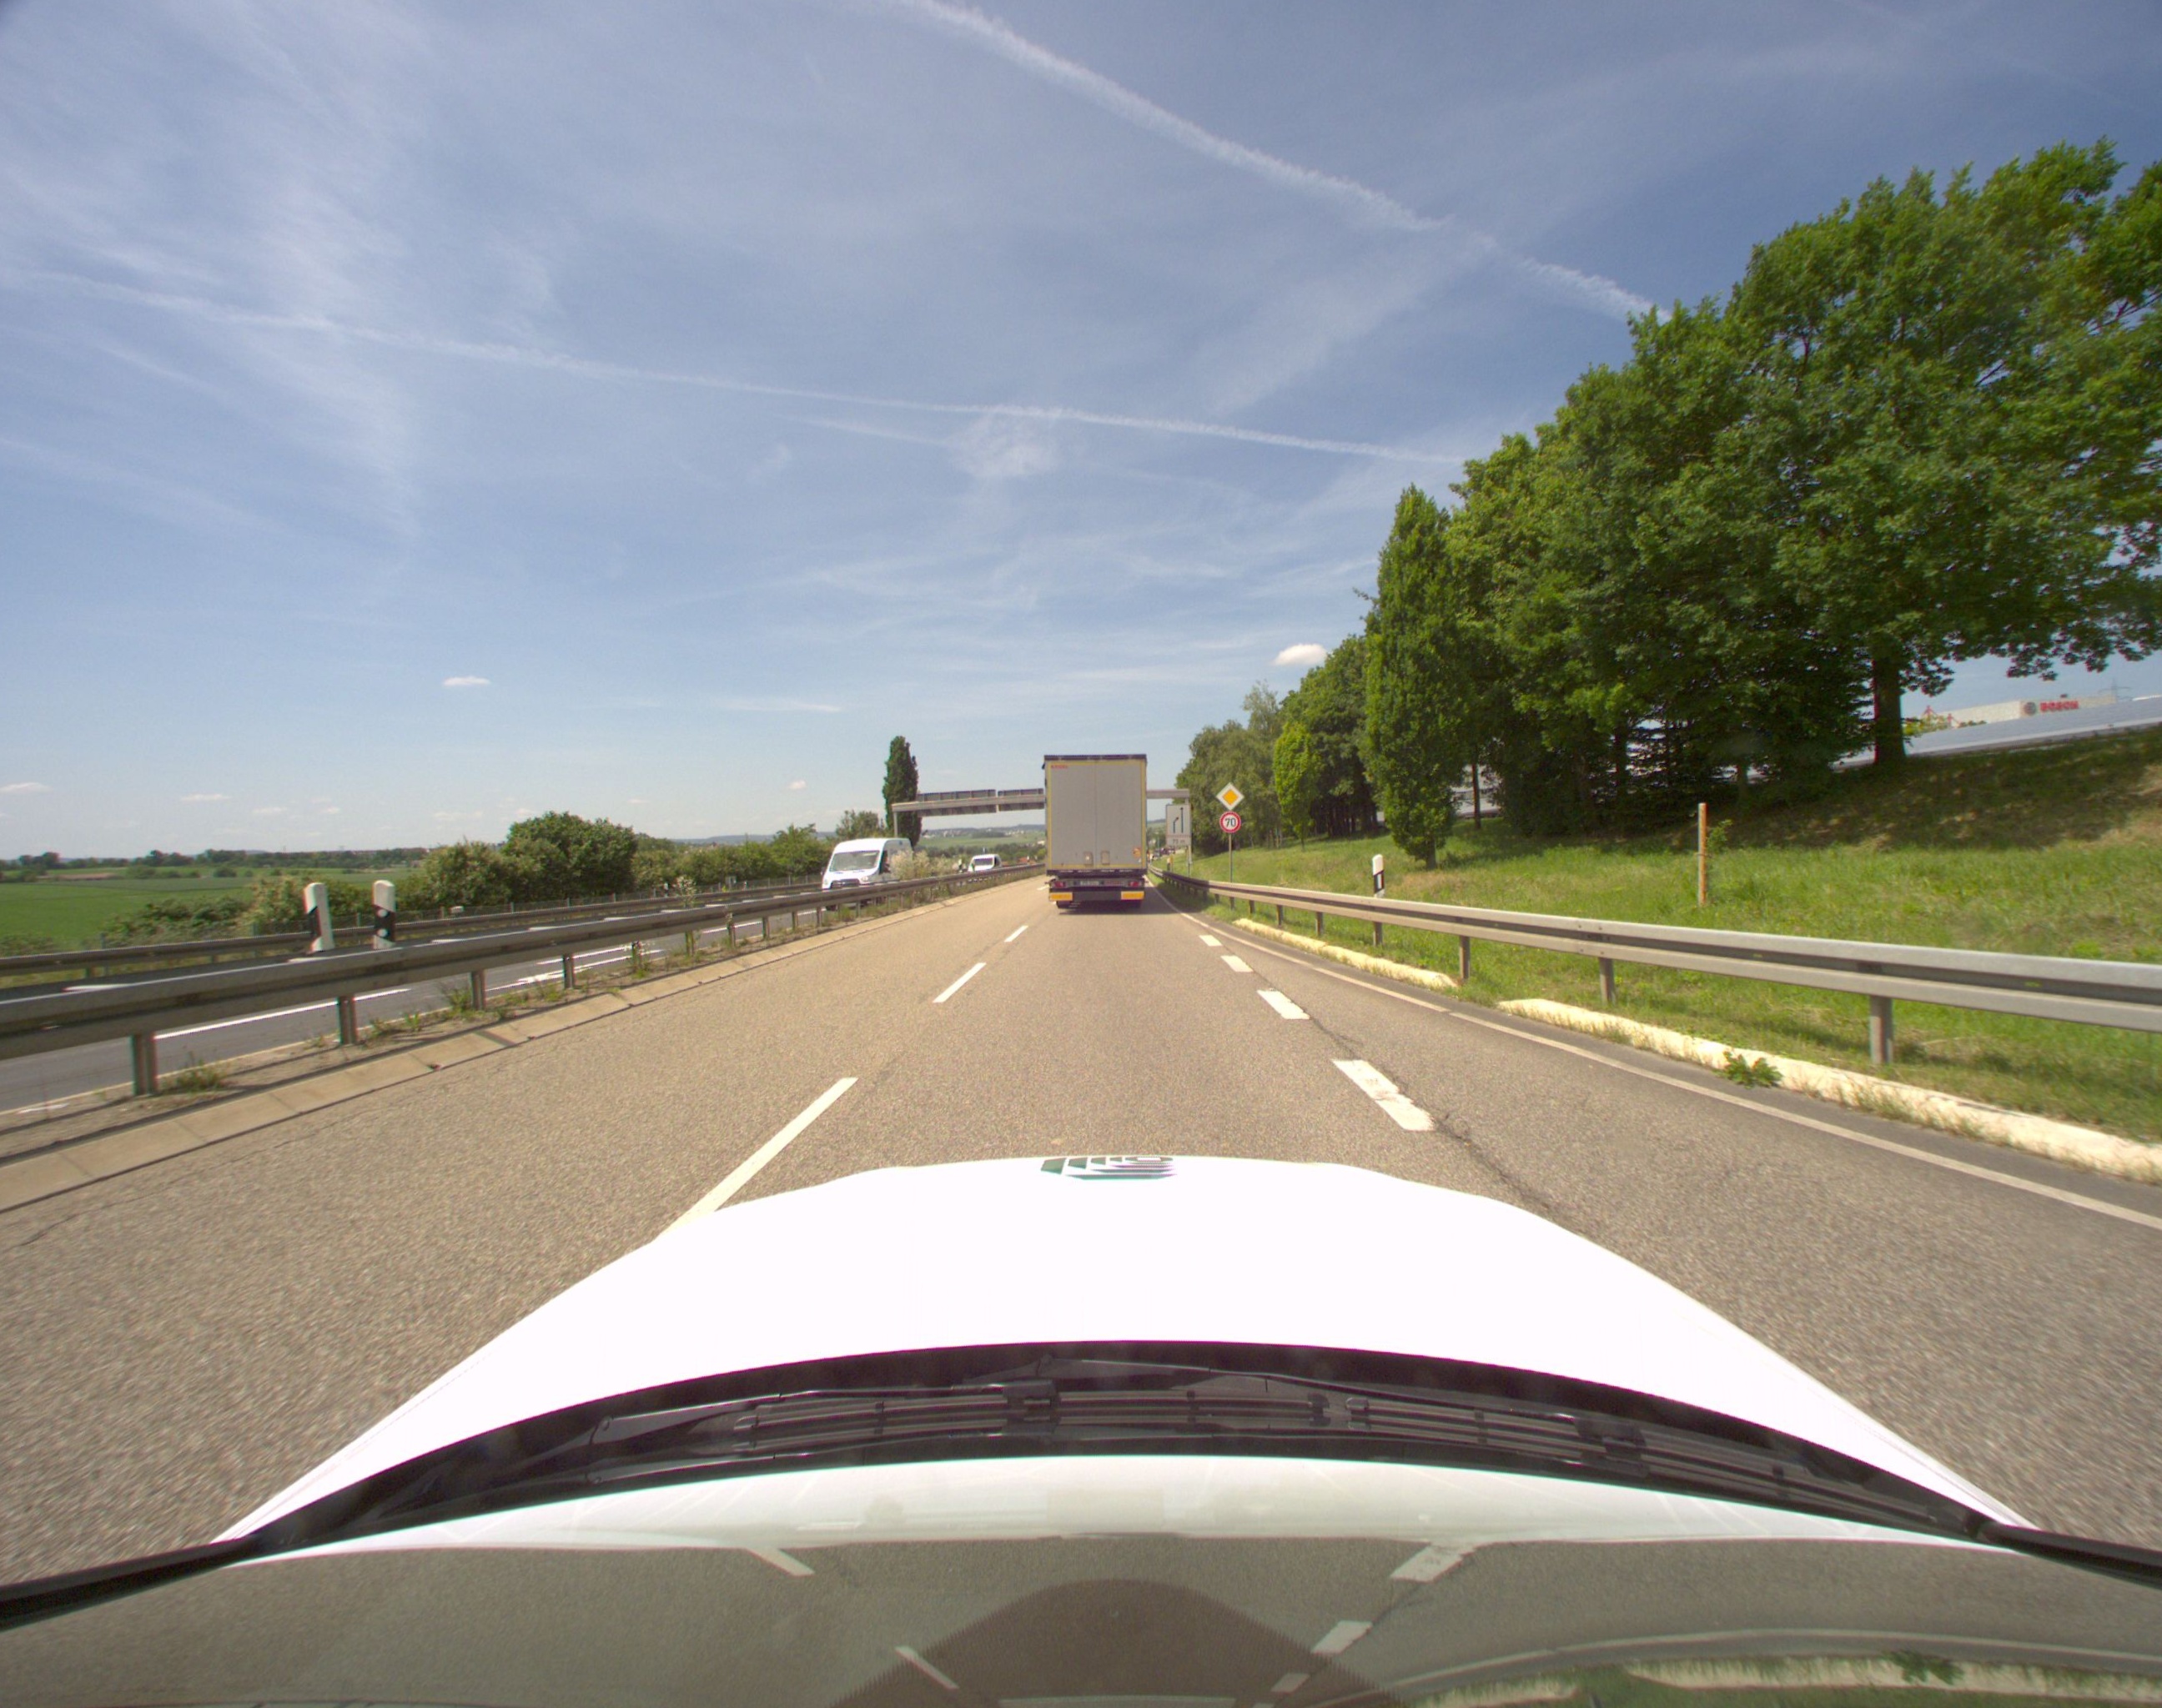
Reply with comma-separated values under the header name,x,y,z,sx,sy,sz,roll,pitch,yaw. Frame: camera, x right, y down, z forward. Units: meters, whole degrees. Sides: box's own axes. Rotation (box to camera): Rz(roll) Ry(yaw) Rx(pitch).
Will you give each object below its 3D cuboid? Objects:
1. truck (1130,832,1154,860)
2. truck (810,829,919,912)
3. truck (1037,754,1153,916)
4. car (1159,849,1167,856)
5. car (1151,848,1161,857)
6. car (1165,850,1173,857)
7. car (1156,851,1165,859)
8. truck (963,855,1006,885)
name,x,y,z,sx,sy,sz,roll,pitch,yaw
truck,8.982,-1.038,118.731,2.640,3.765,10.186,-1,-1,9
truck,-7.801,0.552,30.106,2.033,2.620,6.022,-4,0,2
truck,0.563,-0.462,25.685,2.788,3.929,11.347,-1,0,2
car,19.817,-0.343,196.347,1.779,1.688,4.003,-1,-1,3
car,15.065,-0.384,162.919,1.779,1.688,4.003,-1,-1,3
car,23.409,-0.086,216.219,1.779,1.688,4.003,-1,-1,3
car,17.356,0.185,177.838,1.779,1.688,4.003,-1,-1,3
truck,-6.240,1.021,53.049,1.841,1.749,4.541,-4,-1,3
